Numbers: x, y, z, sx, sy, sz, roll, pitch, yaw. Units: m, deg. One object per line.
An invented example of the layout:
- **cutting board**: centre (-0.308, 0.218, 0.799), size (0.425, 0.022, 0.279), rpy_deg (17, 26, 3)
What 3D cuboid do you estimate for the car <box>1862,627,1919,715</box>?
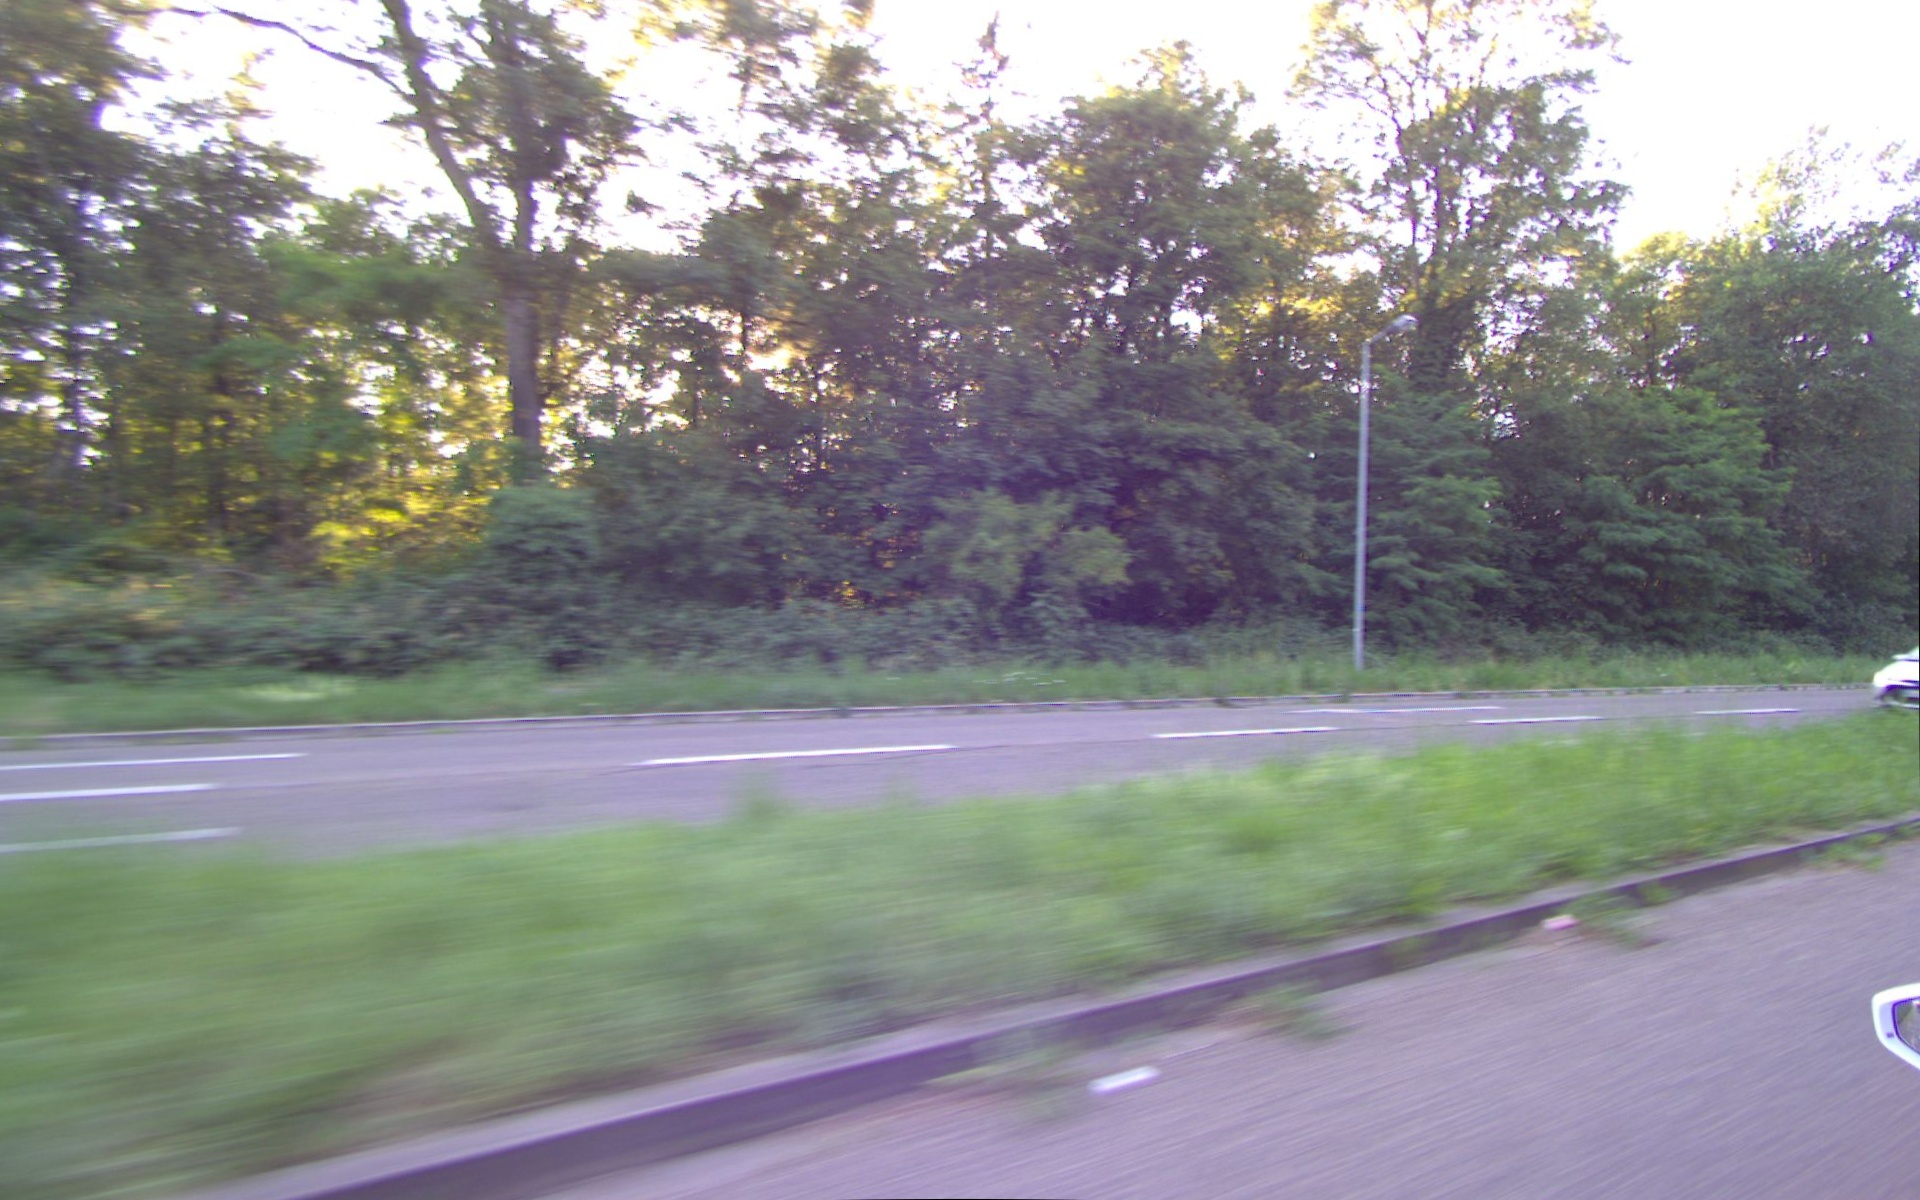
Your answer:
- **car**: centre (18.527, 1.338, 18.329), size (3.888, 1.527, 1.829), rpy_deg (3, -2, -27)
